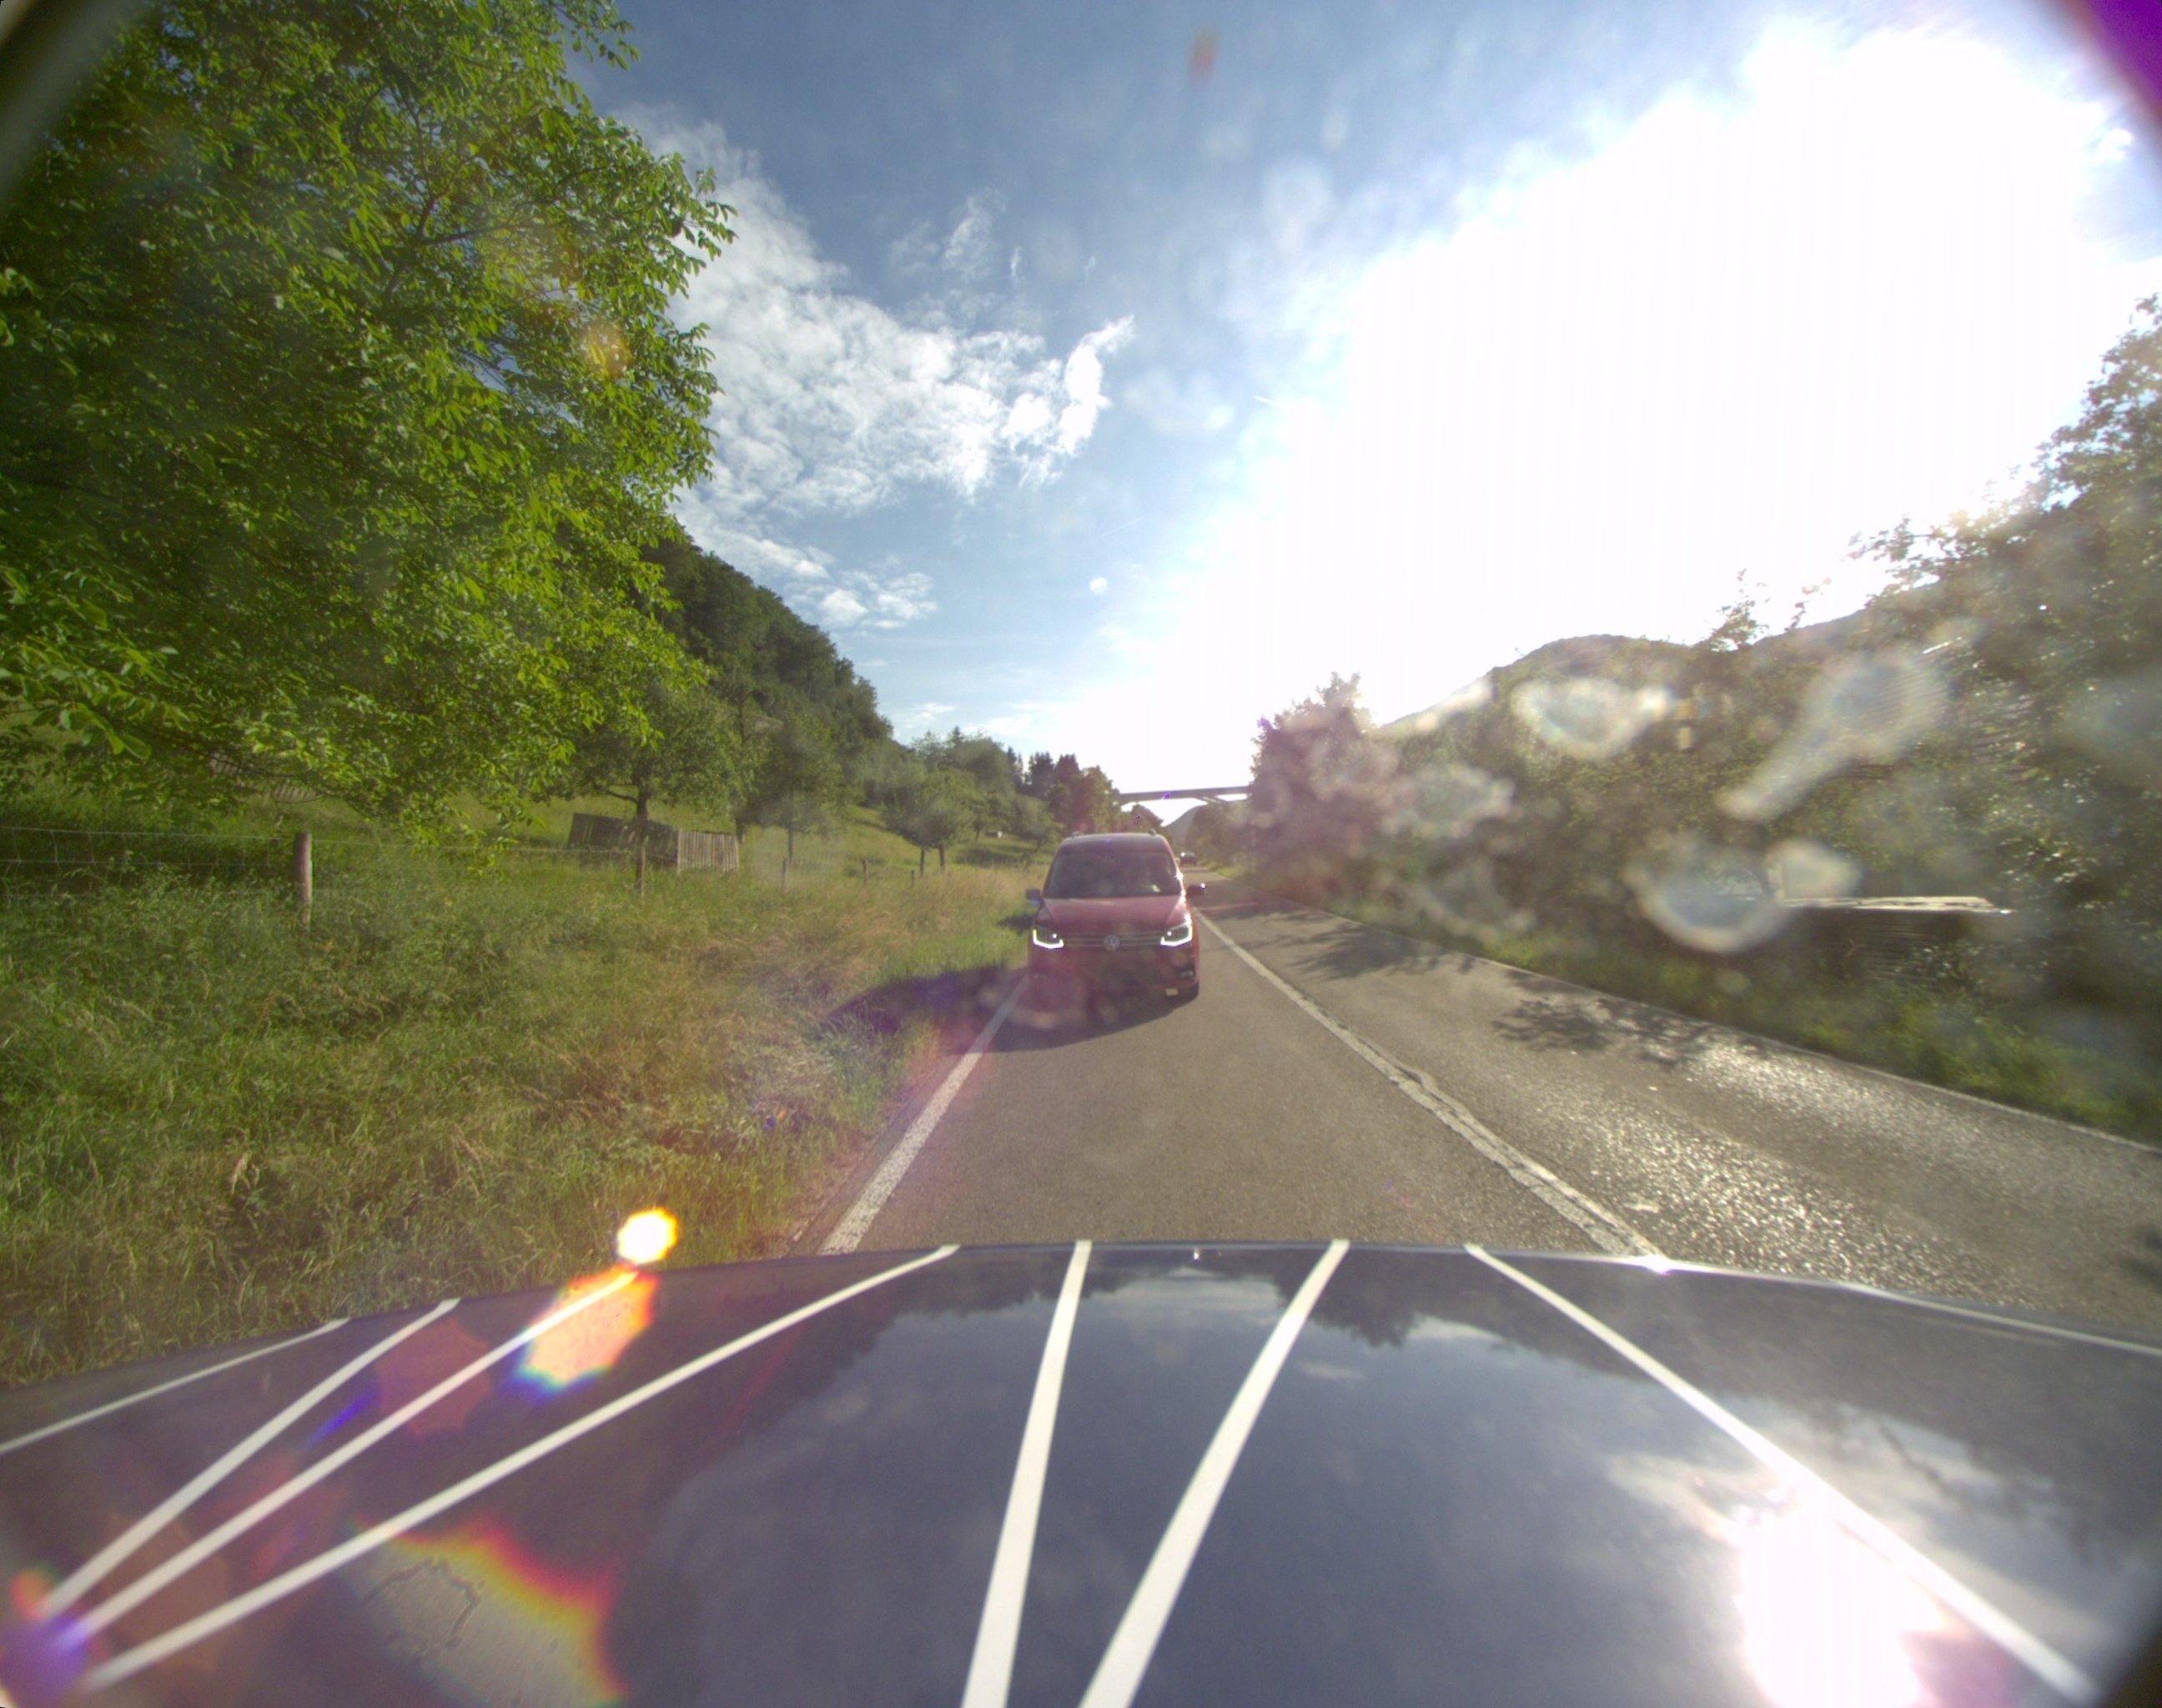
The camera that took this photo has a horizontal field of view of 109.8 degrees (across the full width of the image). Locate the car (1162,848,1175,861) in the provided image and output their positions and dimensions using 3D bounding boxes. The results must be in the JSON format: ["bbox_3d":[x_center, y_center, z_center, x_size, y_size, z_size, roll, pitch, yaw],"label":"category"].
[{"bbox_3d":[14.102,0.018,122.419,1.998,2.002,4.001,-2,1,5],"label":"car"}]

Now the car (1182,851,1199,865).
[{"bbox_3d":[11.651,0.391,81.099,1.597,1.346,4.204,-2,1,6],"label":"car"}]

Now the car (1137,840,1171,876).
[{"bbox_3d":[4.161,0.201,43.305,1.758,1.926,4.001,-2,1,5],"label":"car"}]

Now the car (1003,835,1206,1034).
[{"bbox_3d":[0.341,0.705,9.059,1.759,1.745,4.430,-2,1,3],"label":"car"}]

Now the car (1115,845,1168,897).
[{"bbox_3d":[2.257,0.555,28.391,1.758,1.745,4.001,-2,1,4],"label":"car"}]

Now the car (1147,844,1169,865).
[{"bbox_3d":[7.796,0.064,77.532,1.998,2.002,4.000,-2,1,4],"label":"car"}]
